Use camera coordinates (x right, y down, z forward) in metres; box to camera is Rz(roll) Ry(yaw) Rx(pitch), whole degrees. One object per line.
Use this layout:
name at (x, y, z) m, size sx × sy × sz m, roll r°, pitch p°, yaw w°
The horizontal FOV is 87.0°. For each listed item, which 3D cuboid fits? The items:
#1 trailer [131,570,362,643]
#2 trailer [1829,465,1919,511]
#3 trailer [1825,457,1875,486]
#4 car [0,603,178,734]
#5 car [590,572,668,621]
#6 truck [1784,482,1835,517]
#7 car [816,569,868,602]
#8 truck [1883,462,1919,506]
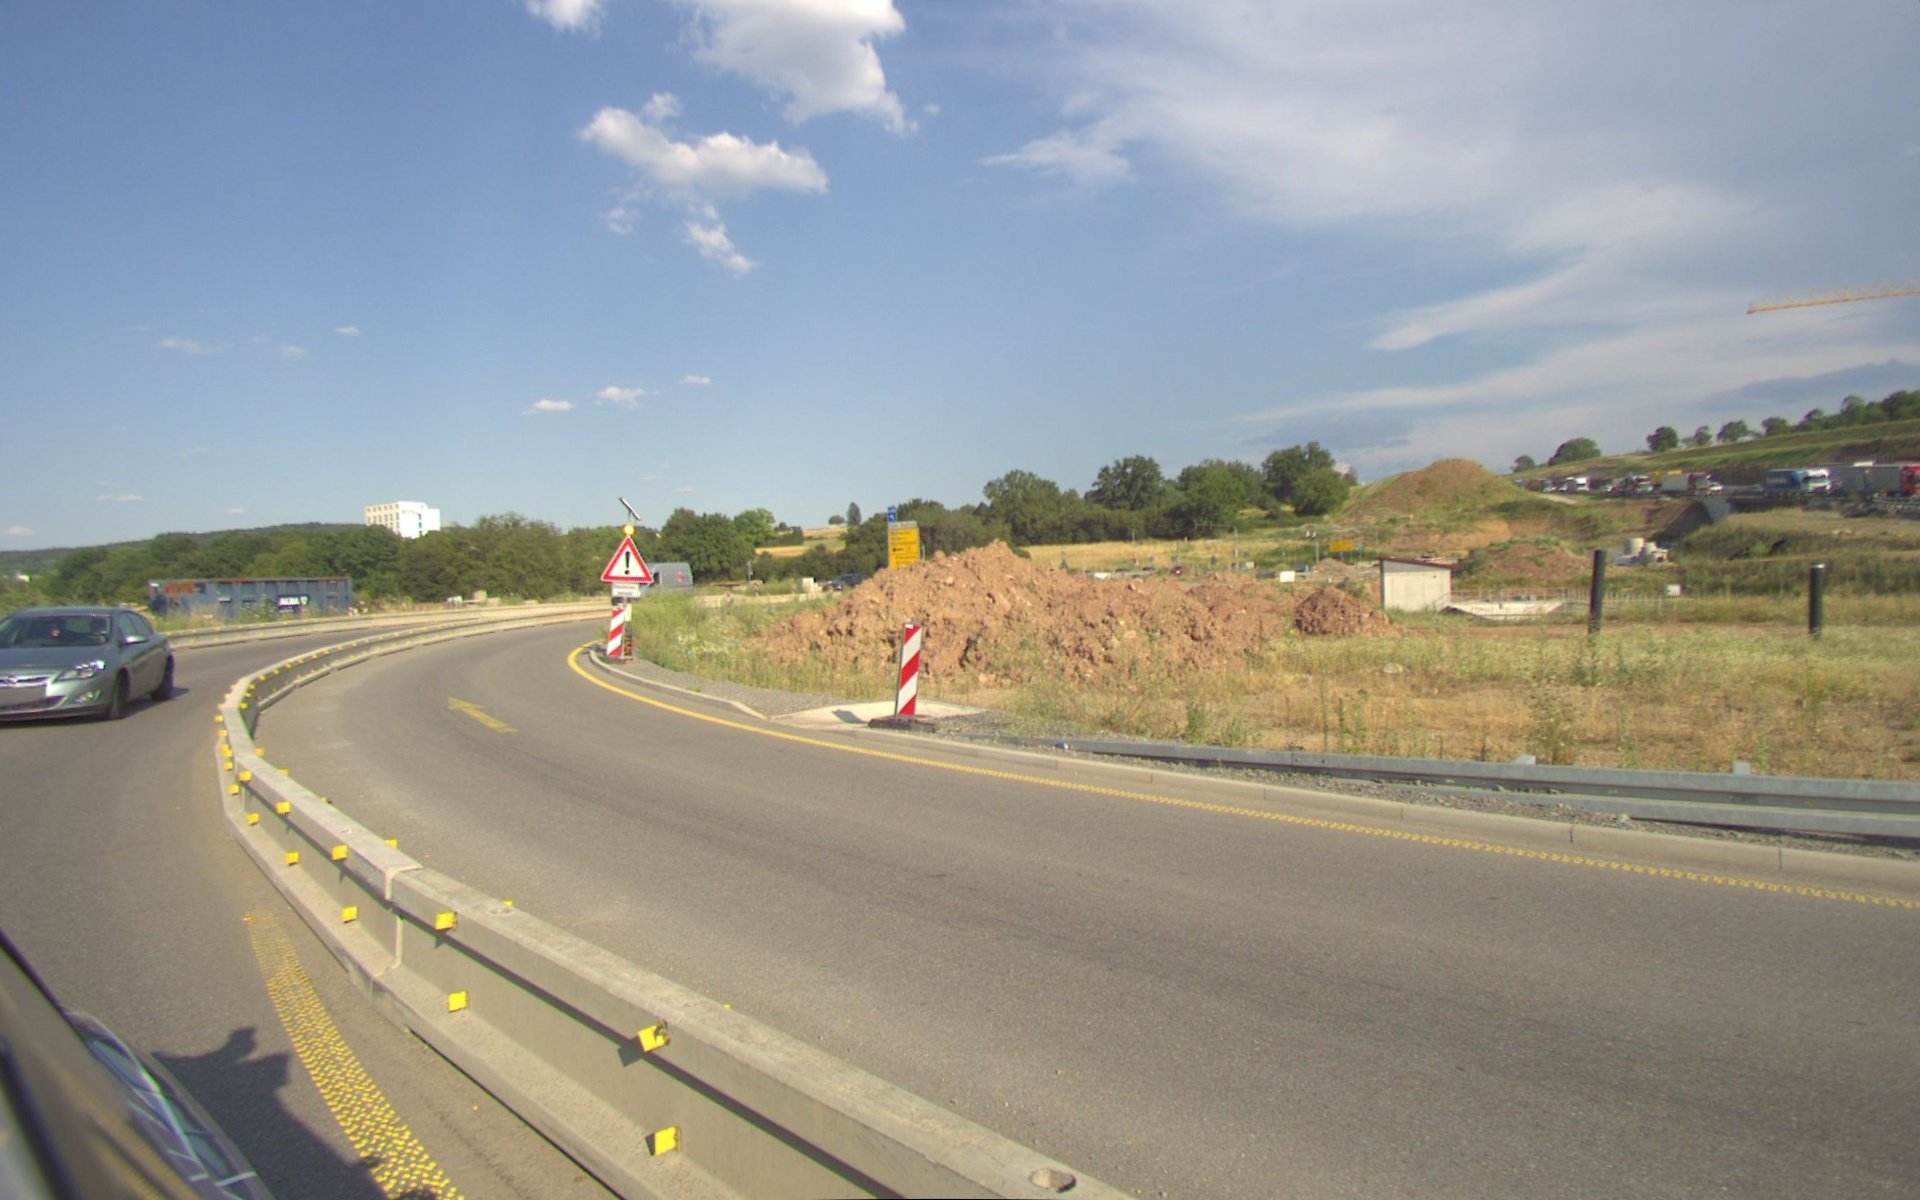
trailer at (-27.130, 0.126, 39.005) m, size 2.981 × 2.432 × 7.206 m, roll -2°, pitch 1°, yaw 10°
trailer at (108.566, -13.140, 120.195) m, size 3.090 × 4.346 × 14.162 m, roll -1°, pitch 2°, yaw 19°
trailer at (141.732, -20.401, 161.252) m, size 1.957 × 3.540 × 11.103 m, roll -1°, pitch 2°, yaw 20°
car at (-12.265, 0.825, 13.832) m, size 1.718 × 1.495 × 4.265 m, roll -2°, pitch 1°, yaw -28°
car at (-18.256, -0.279, 56.168) m, size 1.894 × 2.519 × 5.788 m, roll -1°, pitch 2°, yaw 6°
truck at (114.466, -13.501, 136.481) m, size 2.505 × 4.030 × 8.494 m, roll -1°, pitch 2°, yaw 21°
car at (-8.958, -1.109, 77.153) m, size 1.869 × 2.421 × 3.961 m, roll -1°, pitch 2°, yaw 29°
truck at (105.621, -12.825, 111.704) m, size 3.090 × 4.346 × 6.852 m, roll -1°, pitch 2°, yaw 20°
